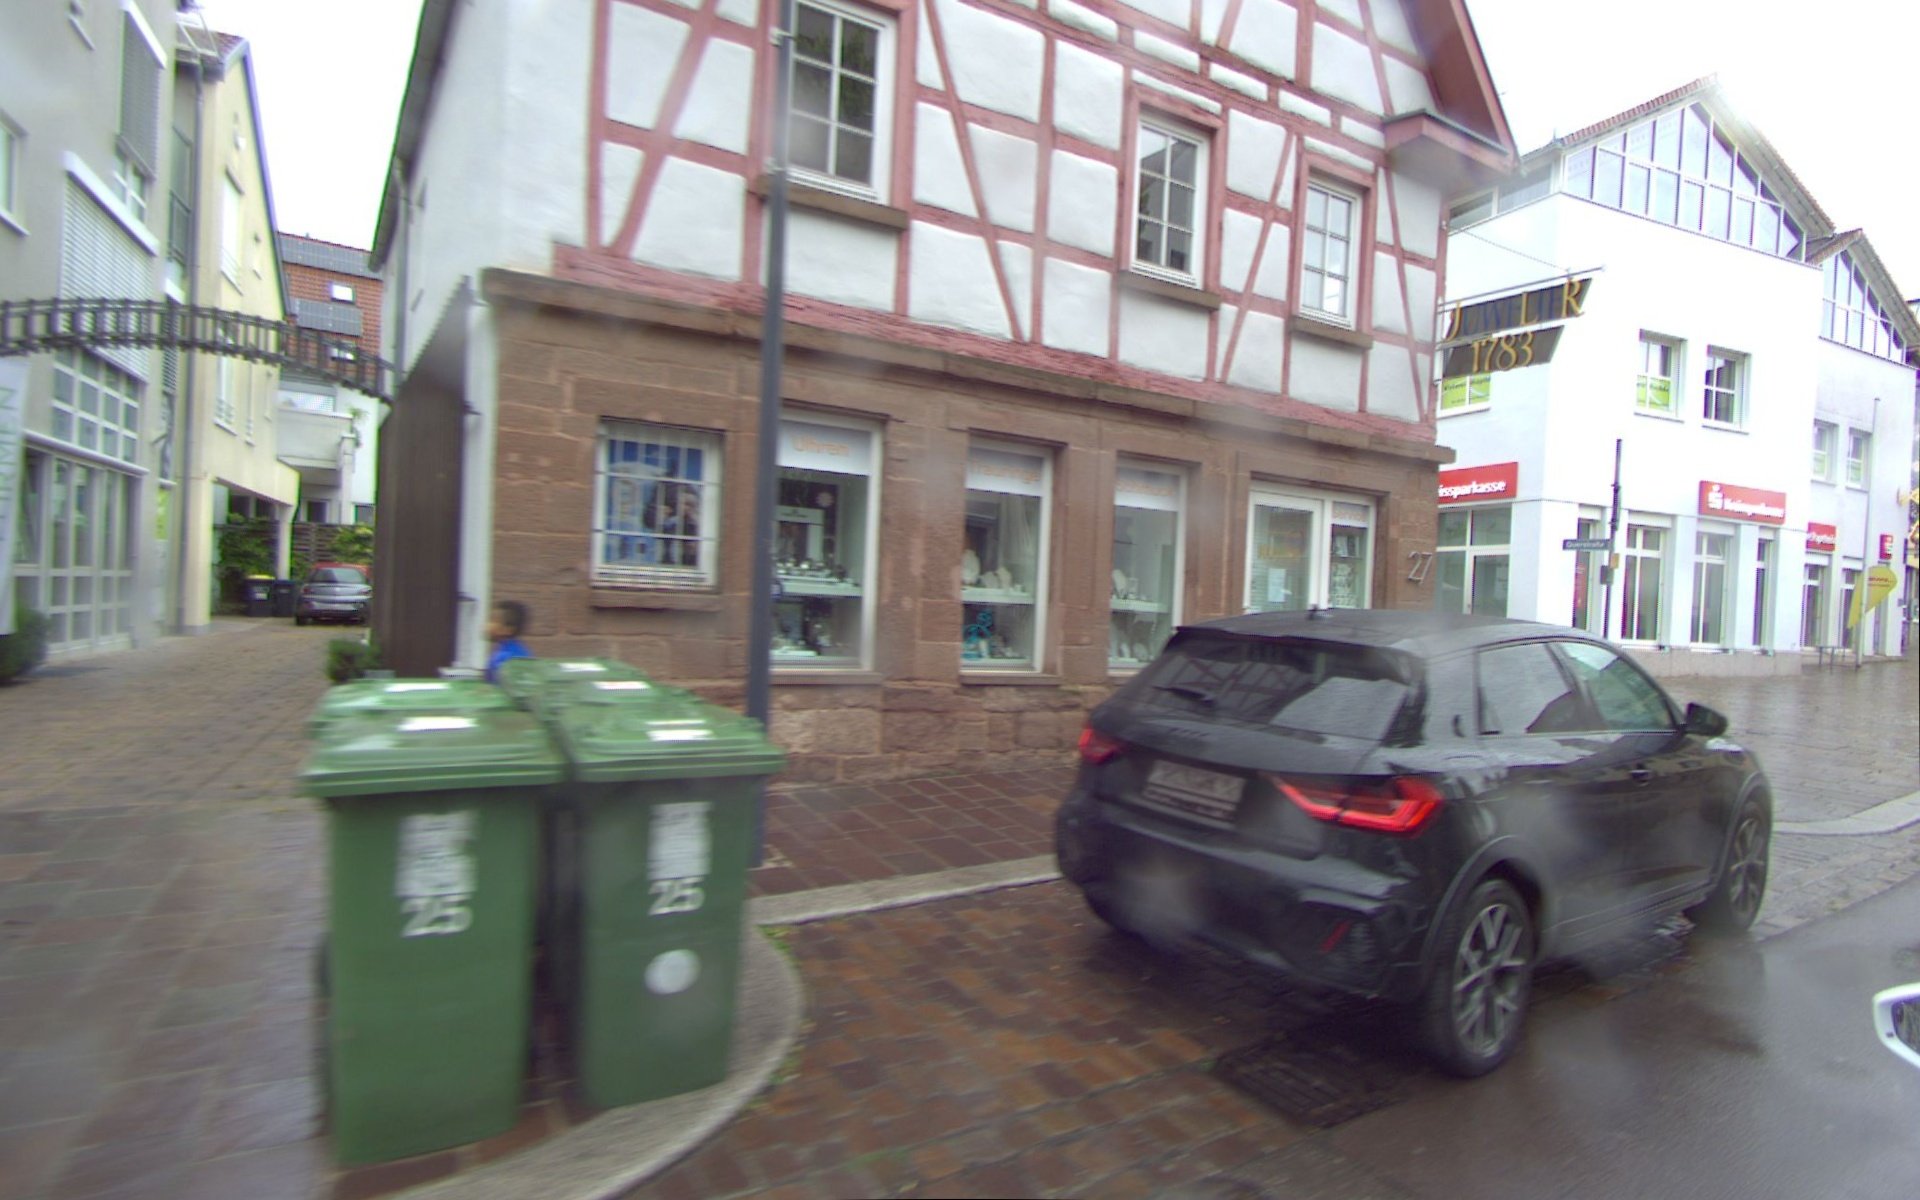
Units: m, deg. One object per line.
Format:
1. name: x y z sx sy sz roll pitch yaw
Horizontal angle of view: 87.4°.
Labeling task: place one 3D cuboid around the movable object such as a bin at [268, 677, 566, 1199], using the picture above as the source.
1. movable object such as a bin: -1.477 0.811 2.752 0.590 1.124 0.722 3 1 -30

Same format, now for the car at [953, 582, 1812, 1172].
1. car: 2.100 0.745 4.546 3.962 1.515 1.775 1 2 -37

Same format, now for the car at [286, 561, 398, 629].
1. car: -15.196 -0.175 24.872 1.840 1.472 3.752 3 1 -25

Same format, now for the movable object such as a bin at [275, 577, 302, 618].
1. movable object such as a bin: -17.298 -0.071 25.885 0.533 1.015 0.349 3 1 -32

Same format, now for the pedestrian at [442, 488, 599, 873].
1. pedestrian: -2.142 0.368 4.876 0.572 1.734 0.516 3 1 -30

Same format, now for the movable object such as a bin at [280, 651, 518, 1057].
1. movable object such as a bin: -1.877 0.769 3.383 0.590 1.124 0.722 3 1 -30

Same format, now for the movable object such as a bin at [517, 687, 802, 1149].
1. movable object such as a bin: -0.944 0.868 3.080 0.637 1.124 0.722 3 1 -30

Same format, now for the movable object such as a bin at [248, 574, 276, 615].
1. movable object such as a bin: -17.628 -0.143 25.380 0.533 1.015 0.349 3 1 -32

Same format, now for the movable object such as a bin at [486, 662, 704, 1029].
1. movable object such as a bin: -1.363 0.827 3.705 0.590 1.124 0.722 3 1 -30

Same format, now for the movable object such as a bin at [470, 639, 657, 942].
1. movable object such as a bin: -1.714 0.761 4.315 0.609 1.124 0.656 3 1 -30
